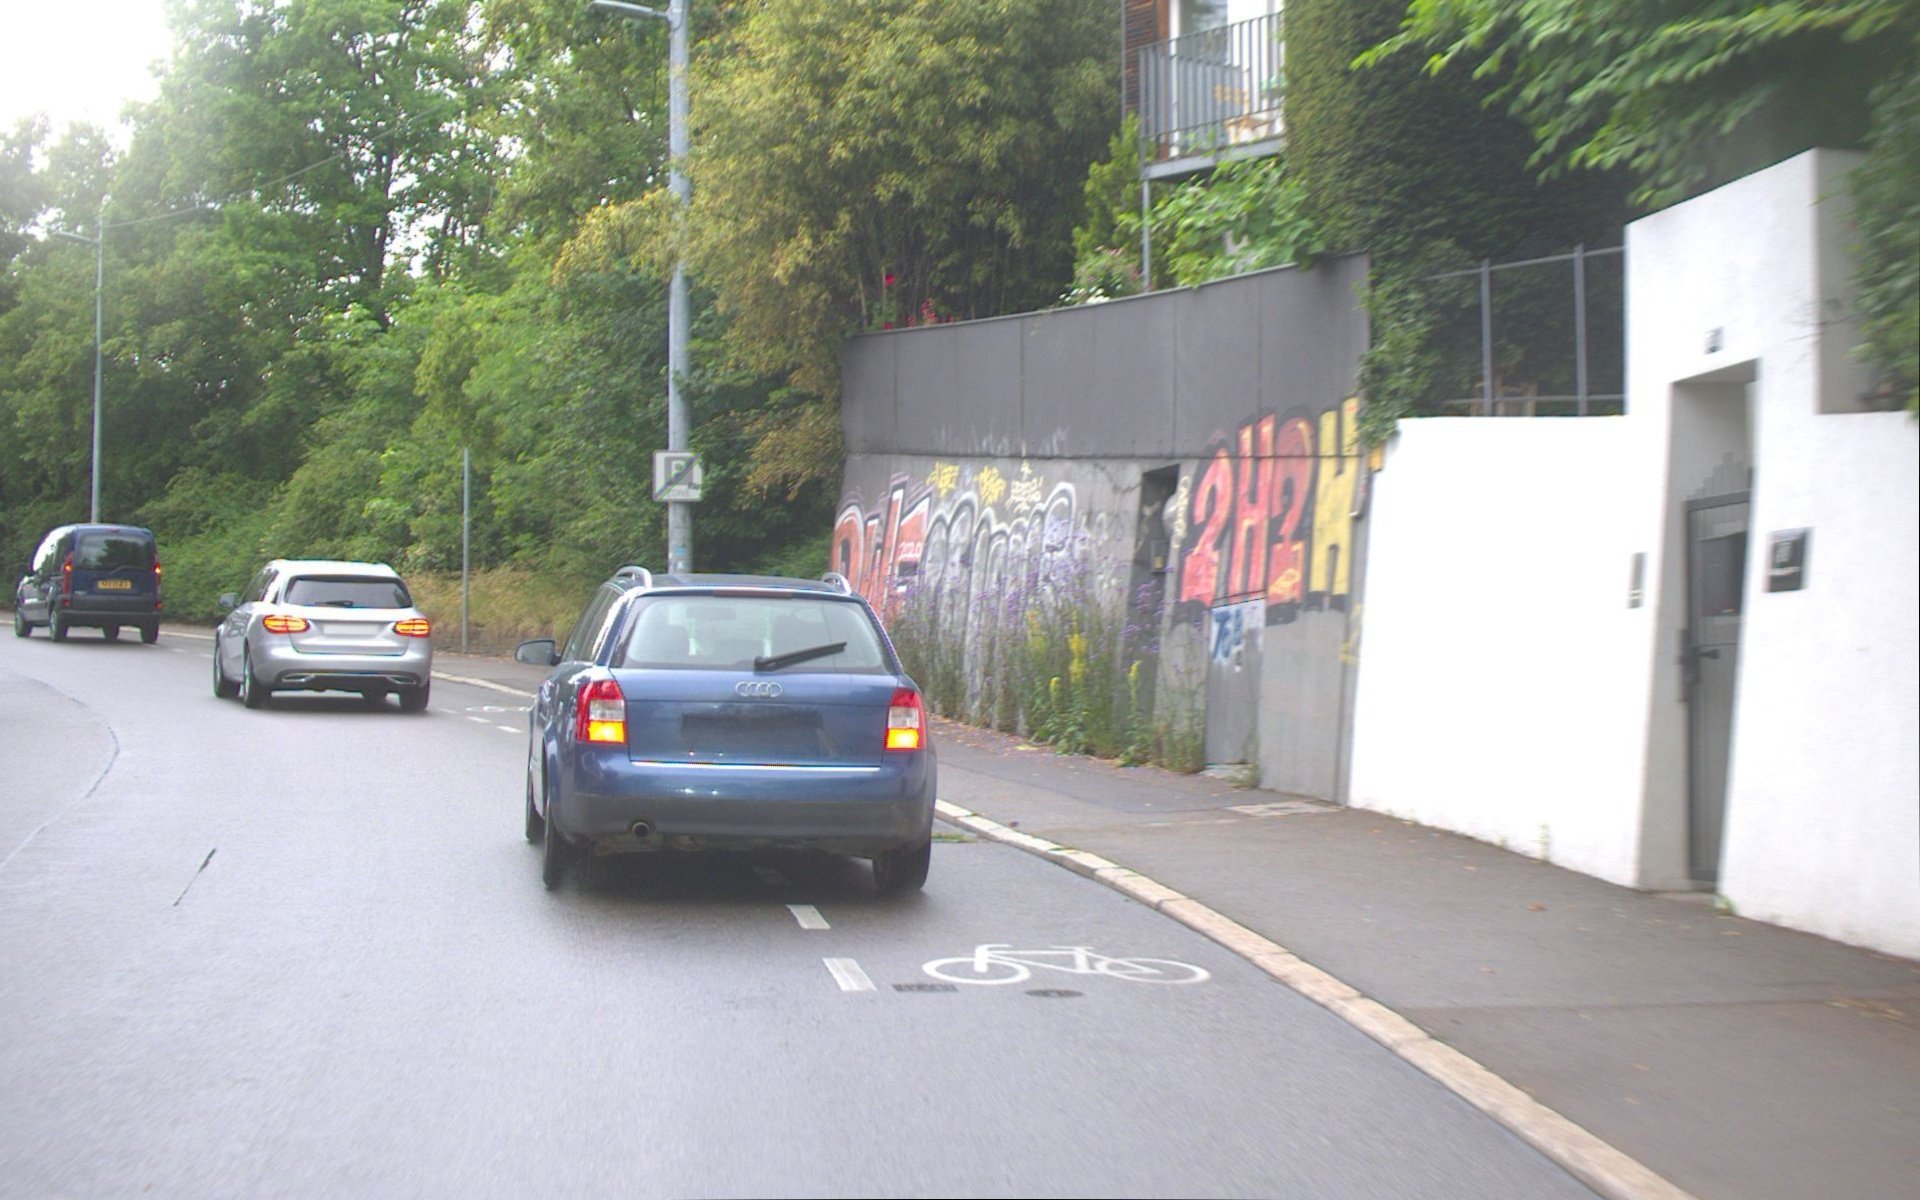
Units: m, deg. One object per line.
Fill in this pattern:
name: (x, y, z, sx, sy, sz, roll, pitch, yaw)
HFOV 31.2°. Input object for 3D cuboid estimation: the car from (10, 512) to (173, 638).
car: (-13.768, -0.403, 54.343, 1.730, 1.888, 4.056, -1, 1, -25)

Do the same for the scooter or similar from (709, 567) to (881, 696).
scooter or similar: (-1.884, 0.367, 39.166, 1.834, 1.310, 0.600, 5, -3, -4)

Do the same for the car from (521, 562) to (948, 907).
car: (-1.193, 0.558, 16.471, 1.777, 1.434, 4.001, 1, 0, -7)

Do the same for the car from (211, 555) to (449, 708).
car: (-6.450, 0.279, 34.855, 1.908, 1.384, 4.352, 3, 0, -16)

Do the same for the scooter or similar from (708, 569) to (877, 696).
scooter or similar: (-1.944, 0.386, 39.859, 1.834, 1.310, 0.600, 5, -3, -4)
